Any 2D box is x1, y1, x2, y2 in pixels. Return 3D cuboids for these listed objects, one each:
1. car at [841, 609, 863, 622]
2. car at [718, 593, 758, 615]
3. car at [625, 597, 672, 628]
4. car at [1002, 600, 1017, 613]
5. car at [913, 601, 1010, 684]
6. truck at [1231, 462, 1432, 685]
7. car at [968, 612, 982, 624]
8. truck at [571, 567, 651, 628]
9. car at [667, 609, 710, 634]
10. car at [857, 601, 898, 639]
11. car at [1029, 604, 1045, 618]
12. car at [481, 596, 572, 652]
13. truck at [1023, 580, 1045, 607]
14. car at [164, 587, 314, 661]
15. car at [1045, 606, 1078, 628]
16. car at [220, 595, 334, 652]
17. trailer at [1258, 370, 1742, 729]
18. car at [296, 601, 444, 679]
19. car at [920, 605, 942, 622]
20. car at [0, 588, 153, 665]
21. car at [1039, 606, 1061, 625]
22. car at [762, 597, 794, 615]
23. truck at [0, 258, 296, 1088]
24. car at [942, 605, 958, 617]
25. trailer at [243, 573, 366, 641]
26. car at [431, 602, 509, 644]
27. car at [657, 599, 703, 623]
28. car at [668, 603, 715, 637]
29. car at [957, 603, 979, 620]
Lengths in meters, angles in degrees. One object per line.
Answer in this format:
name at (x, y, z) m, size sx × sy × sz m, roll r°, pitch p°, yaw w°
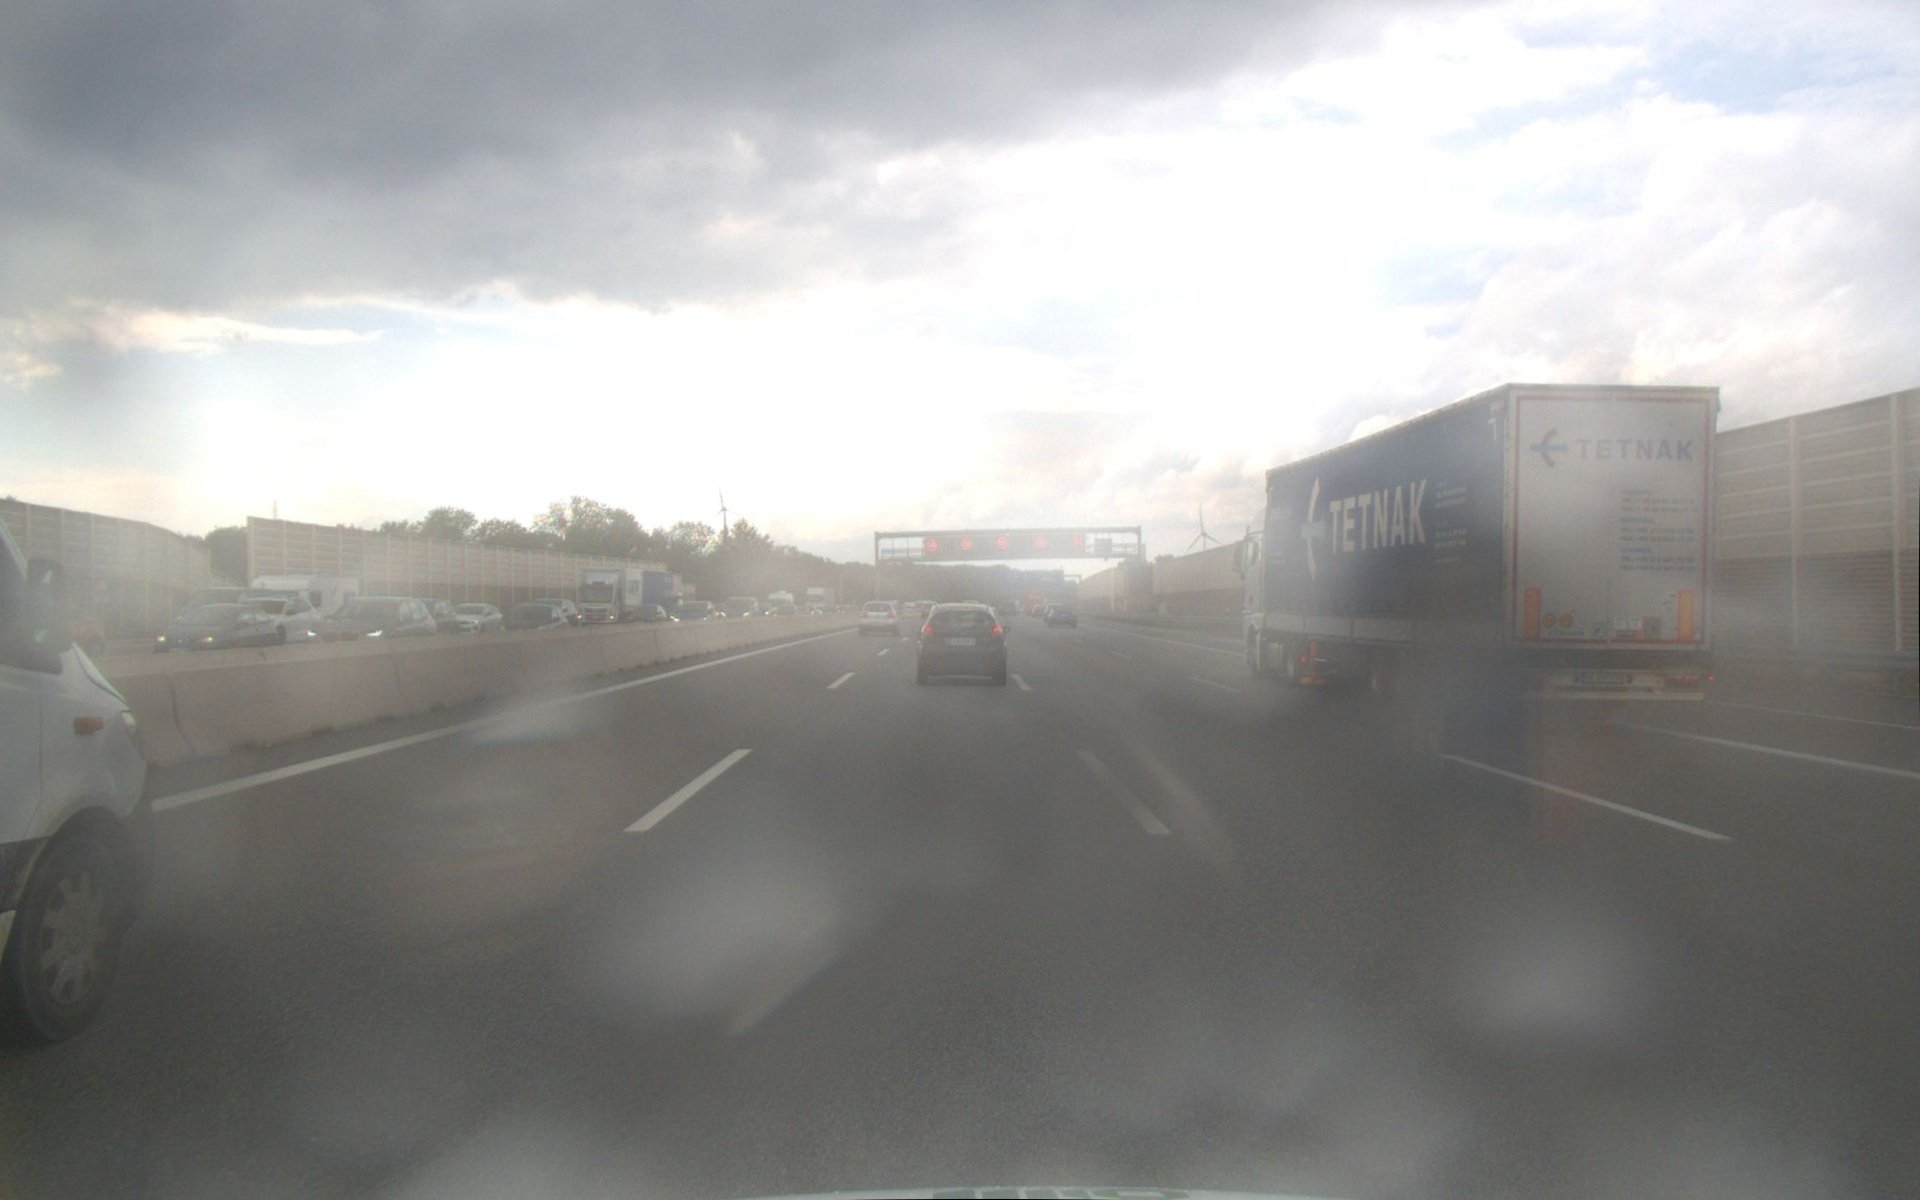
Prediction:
car at (-12.152, 1.744, 186.249) m, size 2.017 × 1.517 × 4.998 m, roll 0°, pitch -1°, yaw 2°
car at (-13.895, 0.265, 103.972) m, size 1.835 × 1.322 × 5.599 m, roll 0°, pitch 0°, yaw -1°
car at (-18.039, 0.717, 95.841) m, size 1.835 × 1.729 × 5.014 m, roll 0°, pitch 0°, yaw -1°
car at (6.566, 0.894, 219.907) m, size 1.927 × 1.588 × 4.434 m, roll 0°, pitch -1°, yaw 2°
car at (-0.032, 0.756, 31.316) m, size 1.683 × 1.442 × 4.277 m, roll 0°, pitch 0°, yaw -2°
truck at (7.366, -0.472, 33.559) m, size 2.689 × 4.105 × 5.724 m, roll 0°, pitch 0°, yaw -1°
car at (2.046, 2.472, 222.794) m, size 1.927 × 1.588 × 4.433 m, roll 0°, pitch -1°, yaw 1°
truck at (-21.600, -0.120, 102.982) m, size 2.640 × 3.589 × 9.996 m, roll 1°, pitch 0°, yaw 1°
car at (-17.940, 1.439, 109.500) m, size 2.018 × 1.628 × 4.997 m, roll 0°, pitch -1°, yaw 0°
car at (-3.669, 0.884, 74.149) m, size 1.682 × 1.652 × 4.277 m, roll 0°, pitch 0°, yaw -1°
car at (8.851, 1.301, 190.975) m, size 1.843 × 1.588 × 4.434 m, roll 0°, pitch -1°, yaw 2°
car at (-14.116, 0.743, 54.070) m, size 1.916 × 1.729 × 4.409 m, roll 0°, pitch 0°, yaw -2°
truck at (10.723, -0.929, 241.328) m, size 3.087 × 3.665 × 12.702 m, roll 1°, pitch 0°, yaw 2°
car at (-17.855, 0.563, 41.201) m, size 1.916 × 1.729 × 4.409 m, roll 0°, pitch 0°, yaw -2°
car at (6.675, 1.118, 109.517) m, size 1.910 × 1.443 × 4.231 m, roll 0°, pitch -1°, yaw 0°
car at (-21.708, 0.709, 52.738) m, size 1.916 × 1.729 × 4.409 m, roll 0°, pitch 0°, yaw -2°
trailer at (7.518, -0.541, 26.236) m, size 2.705 × 4.102 × 14.449 m, roll 0°, pitch 0°, yaw -1°
car at (-13.997, 0.899, 39.534) m, size 1.916 × 1.729 × 4.891 m, roll 0°, pitch 0°, yaw -2°
car at (-2.897, 1.315, 163.732) m, size 1.927 × 1.588 × 4.434 m, roll 0°, pitch -1°, yaw 2°
car at (-21.236, 0.597, 39.429) m, size 1.916 × 1.729 × 4.409 m, roll 0°, pitch 0°, yaw -2°
car at (7.857, 1.348, 144.647) m, size 1.843 × 1.569 × 4.433 m, roll 0°, pitch -1°, yaw 2°
car at (-15.566, 0.531, 141.638) m, size 2.017 × 1.517 × 4.998 m, roll 0°, pitch -1°, yaw 2°
truck at (-3.958, 0.209, 3.646) m, size 2.260 × 2.482 × 7.145 m, roll 1°, pitch 0°, yaw -2°
car at (-1.330, 1.499, 223.748) m, size 1.927 × 1.588 × 4.434 m, roll 0°, pitch -1°, yaw 2°
trailer at (-25.818, 0.274, 65.417) m, size 2.409 × 2.539 × 6.085 m, roll 0°, pitch 0°, yaw 0°
car at (-21.212, 0.961, 71.776) m, size 2.019 × 1.729 × 5.086 m, roll 0°, pitch 0°, yaw -2°
car at (-18.546, 0.759, 109.649) m, size 2.017 × 1.517 × 4.998 m, roll 0°, pitch -1°, yaw 2°
car at (-13.948, 1.018, 86.102) m, size 1.835 × 1.729 × 4.221 m, roll 0°, pitch 0°, yaw -1°
car at (0.804, 1.084, 155.059) m, size 1.927 × 1.588 × 4.434 m, roll 0°, pitch -1°, yaw 2°
